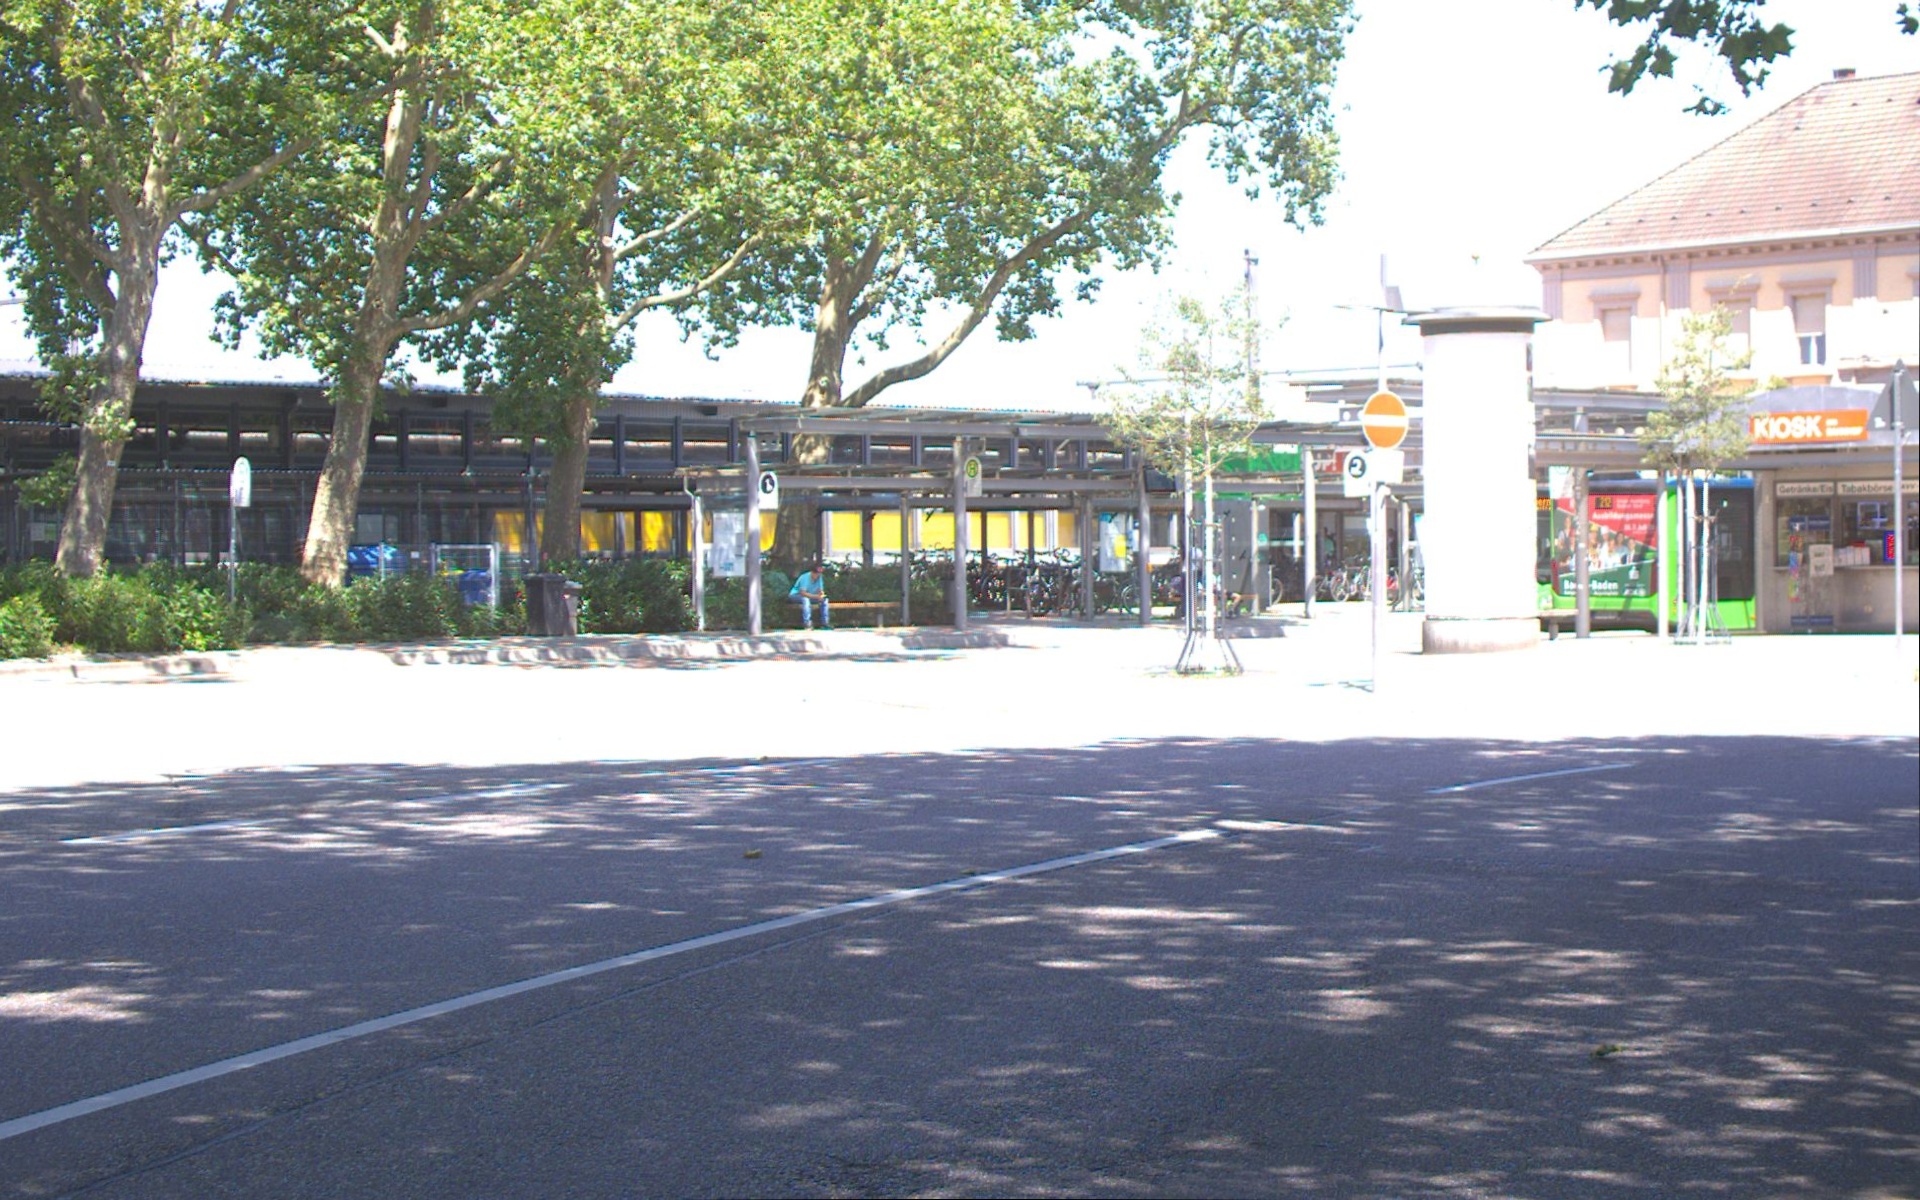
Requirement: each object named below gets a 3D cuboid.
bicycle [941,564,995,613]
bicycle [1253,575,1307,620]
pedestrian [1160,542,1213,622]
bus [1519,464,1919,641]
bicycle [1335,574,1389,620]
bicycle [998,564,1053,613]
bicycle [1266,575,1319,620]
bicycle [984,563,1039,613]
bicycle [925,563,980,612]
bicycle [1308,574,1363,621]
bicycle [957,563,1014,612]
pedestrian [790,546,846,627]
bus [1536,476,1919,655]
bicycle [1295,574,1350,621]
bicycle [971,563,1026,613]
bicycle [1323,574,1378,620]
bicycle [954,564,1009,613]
[{"bbox_3d":[0.179,-0.260,77.841,0.385,1.090,1.385,2,-1,-42],"label":"bicycle"},{"bbox_3d":[7.717,-0.061,82.964,0.385,1.090,1.385,-1,1,-42],"label":"bicycle"},{"bbox_3d":[4.585,-0.371,69.551,0.820,1.612,0.767,0,1,27],"label":"pedestrian"},{"bbox_3d":[16.484,-1.022,73.162,12.190,3.514,2.168,-1,1,-44],"label":"bus"},{"bbox_3d":[9.673,-0.083,82.746,0.385,1.090,1.385,-1,1,-42],"label":"bicycle"},{"bbox_3d":[1.463,-0.252,77.064,0.385,1.090,1.385,2,-1,-42],"label":"bicycle"},{"bbox_3d":[8.052,-0.067,83.253,0.385,1.090,1.385,-1,1,-42],"label":"bicycle"},{"bbox_3d":[1.147,-0.260,76.795,0.385,1.090,1.385,2,-1,-42],"label":"bicycle"},{"bbox_3d":[-0.172,-0.268,77.535,0.385,1.090,1.385,2,-1,-42],"label":"bicycle"},{"bbox_3d":[8.969,-0.063,82.114,0.385,1.090,1.385,-1,1,-42],"label":"bicycle"},{"bbox_3d":[0.560,-0.276,76.184,0.385,1.090,1.385,2,-1,-44],"label":"bicycle"},{"bbox_3d":[-2.584,-0.253,62.712,0.607,1.458,0.820,0,1,43],"label":"pedestrian"},{"bbox_3d":[15.853,-0.626,63.985,2.682,3.030,13.856,0,0,44],"label":"bus"},{"bbox_3d":[8.618,-0.069,81.810,0.366,1.096,1.405,-1,1,-42],"label":"bicycle"},{"bbox_3d":[0.853,-0.267,76.513,0.385,1.090,1.385,2,-1,-42],"label":"bicycle"},{"bbox_3d":[9.367,-0.075,82.469,0.385,1.090,1.385,-1,1,-42],"label":"bicycle"},{"bbox_3d":[0.488,-0.252,78.137,0.385,1.090,1.385,2,-1,-42],"label":"bicycle"}]
